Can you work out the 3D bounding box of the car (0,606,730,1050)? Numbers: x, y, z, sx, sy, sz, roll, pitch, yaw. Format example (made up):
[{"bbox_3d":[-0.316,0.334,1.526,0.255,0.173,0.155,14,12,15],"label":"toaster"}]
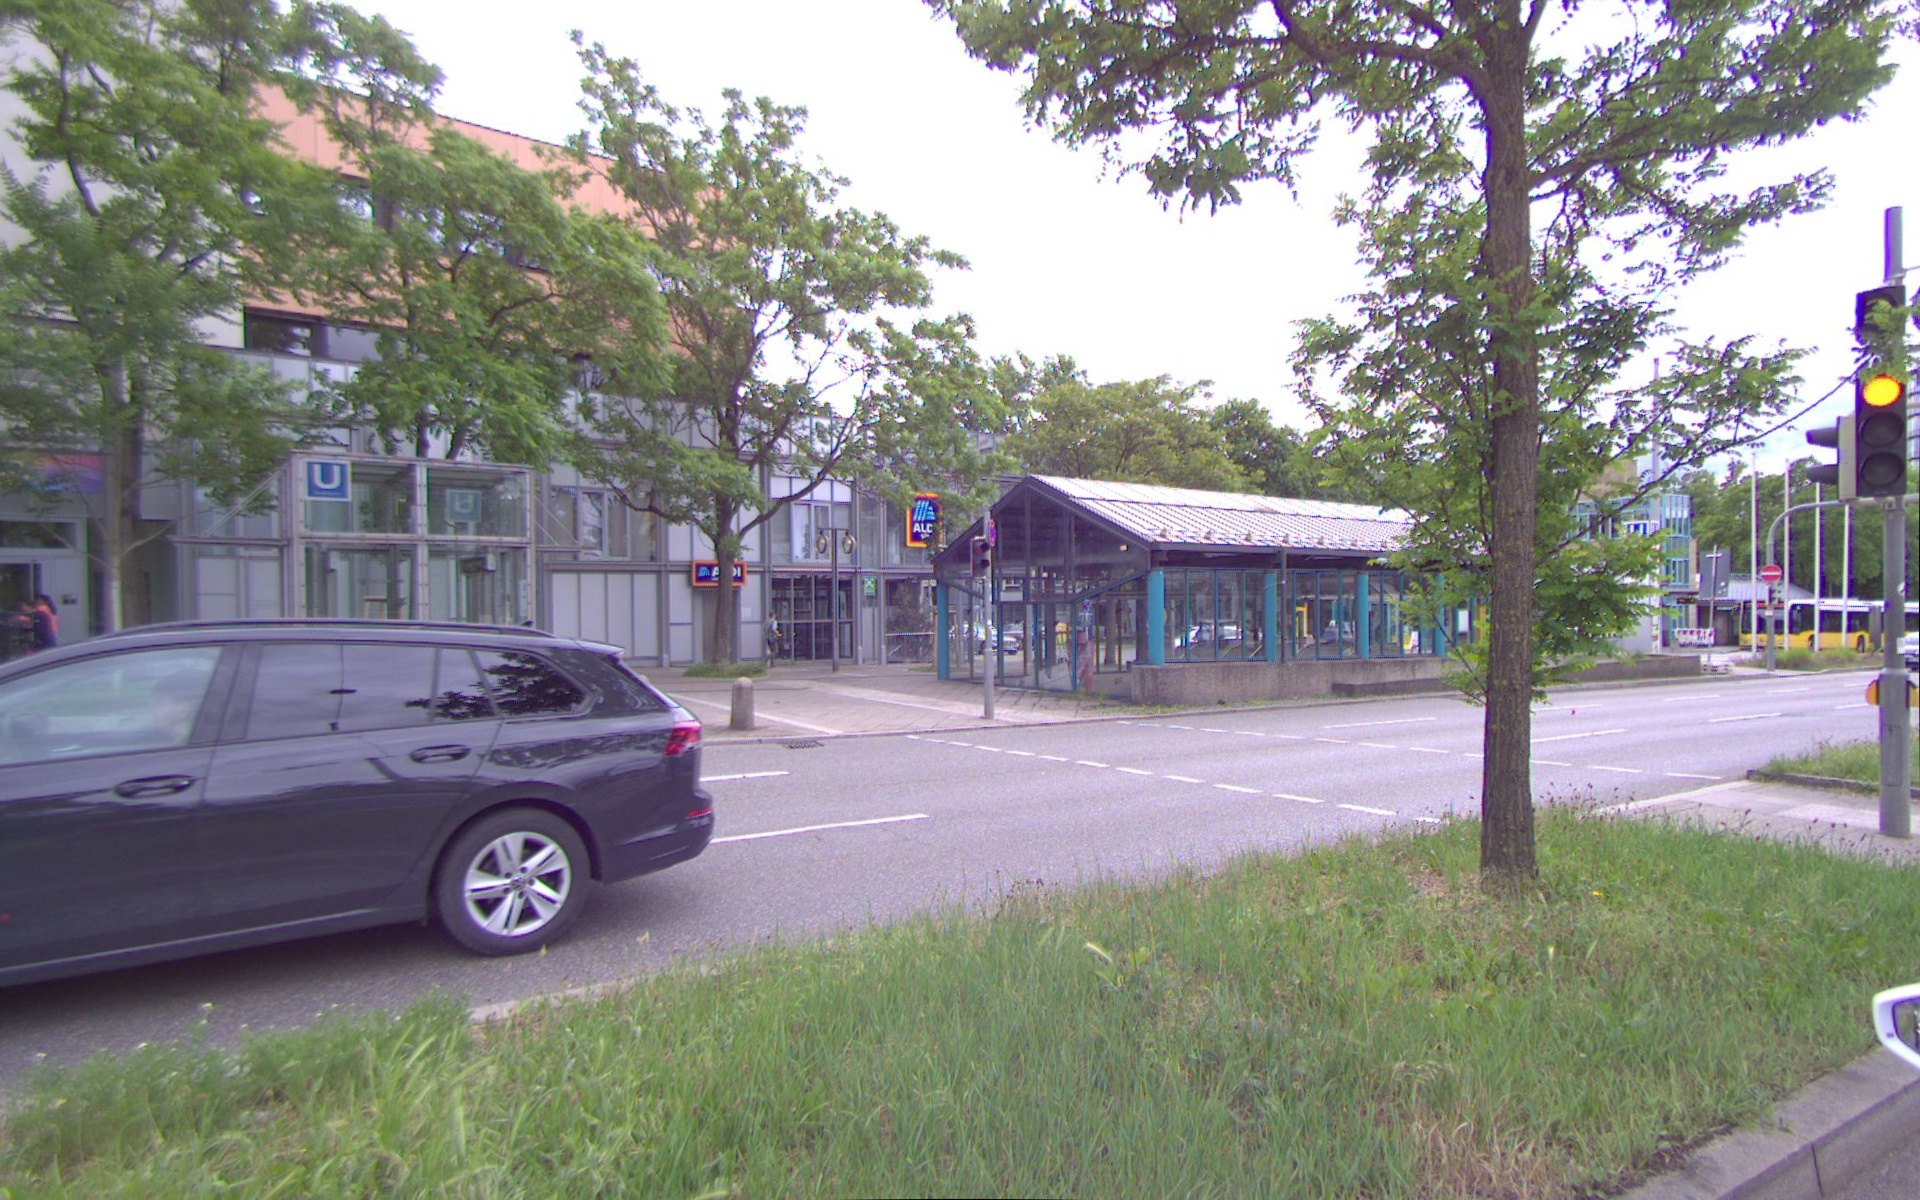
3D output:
[{"bbox_3d":[-3.339,0.791,4.379,4.246,1.500,1.698,1,-1,-35],"label":"car"}]

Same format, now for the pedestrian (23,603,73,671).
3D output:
[{"bbox_3d":[-19.001,0.766,20.932,0.689,1.393,0.578,1,-1,-37],"label":"pedestrian"}]

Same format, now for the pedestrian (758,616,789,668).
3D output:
[{"bbox_3d":[-5.538,1.242,29.783,0.748,1.499,0.525,1,-1,-36],"label":"pedestrian"}]

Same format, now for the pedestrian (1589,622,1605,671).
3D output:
[{"bbox_3d":[20.977,1.525,33.082,0.412,1.612,0.356,0,-1,31],"label":"pedestrian"}]

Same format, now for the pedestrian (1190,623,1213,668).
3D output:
[{"bbox_3d":[9.167,1.715,38.147,0.703,1.677,0.517,1,-1,-37],"label":"pedestrian"}]

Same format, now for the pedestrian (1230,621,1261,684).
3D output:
[{"bbox_3d":[8.297,1.519,29.189,0.749,1.786,0.525,1,-1,-38],"label":"pedestrian"}]

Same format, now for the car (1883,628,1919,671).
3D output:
[{"bbox_3d":[37.559,1.912,39.170,3.316,1.599,1.673,1,-1,-36],"label":"car"}]

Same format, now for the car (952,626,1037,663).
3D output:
[{"bbox_3d":[1.661,2.193,50.382,1.769,1.710,4.838,1,-1,-33],"label":"car"}]

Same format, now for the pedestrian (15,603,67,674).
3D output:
[{"bbox_3d":[-18.595,0.775,20.338,0.689,1.393,0.578,1,-1,-37],"label":"pedestrian"}]

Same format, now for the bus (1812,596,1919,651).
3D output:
[{"bbox_3d":[57.930,1.540,63.772,7.771,3.313,2.980,1,-1,-26],"label":"bus"}]

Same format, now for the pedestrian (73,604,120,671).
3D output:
[{"bbox_3d":[-18.304,0.789,21.298,0.689,1.393,0.578,1,-1,-37],"label":"pedestrian"}]

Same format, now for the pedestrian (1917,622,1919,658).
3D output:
[{"bbox_3d":[52.171,2.144,54.131,0.677,1.922,0.658,1,-1,-28],"label":"pedestrian"}]

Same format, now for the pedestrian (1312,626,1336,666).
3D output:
[{"bbox_3d":[14.768,1.877,40.768,0.655,1.591,0.630,2,0,-34],"label":"pedestrian"}]

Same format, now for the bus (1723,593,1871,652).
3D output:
[{"bbox_3d":[49.933,1.379,59.832,10.036,3.293,2.980,1,-1,-26],"label":"bus"}]
